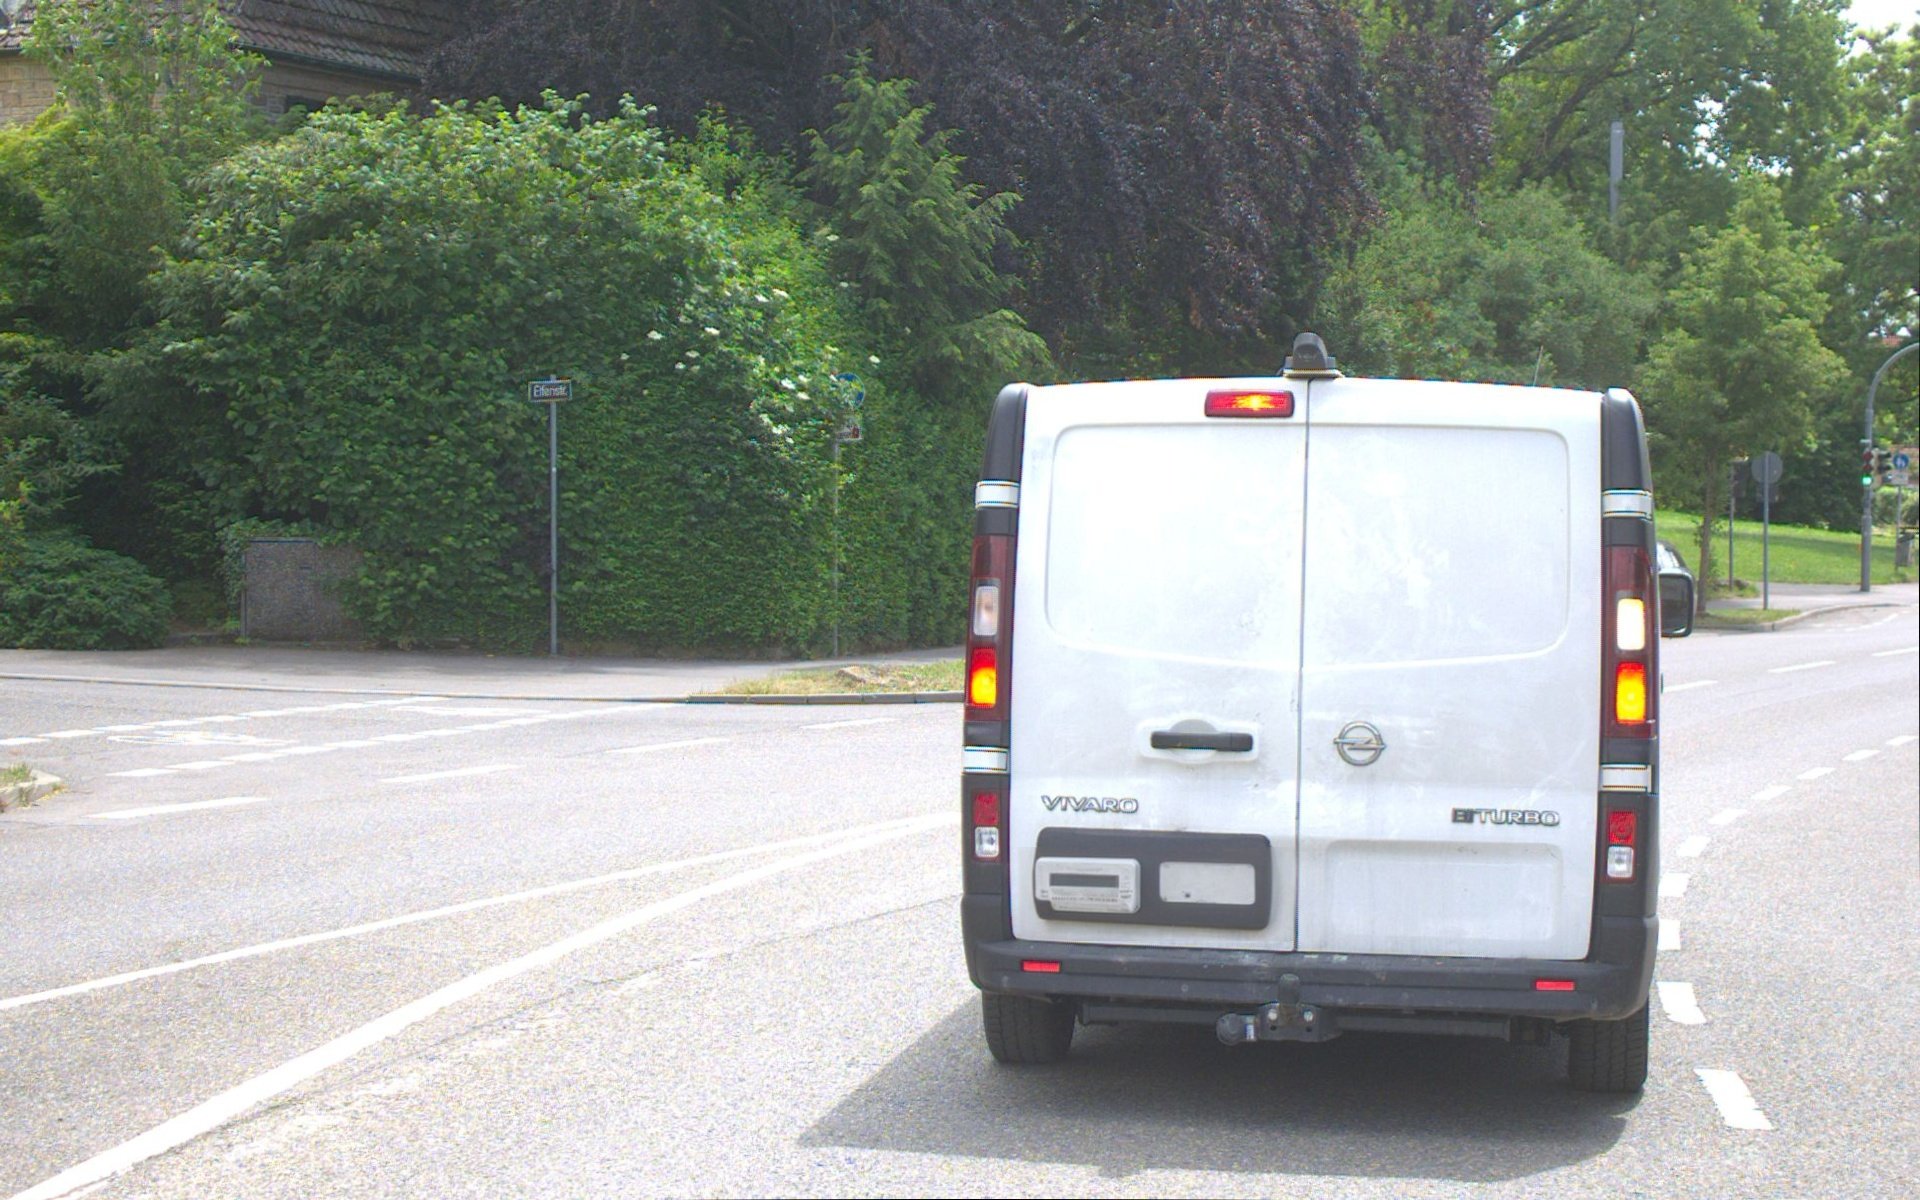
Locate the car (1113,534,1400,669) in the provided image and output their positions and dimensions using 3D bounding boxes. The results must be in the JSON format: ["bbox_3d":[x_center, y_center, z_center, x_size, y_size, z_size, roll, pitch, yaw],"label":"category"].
[{"bbox_3d":[3.435,-0.019,38.999,1.663,1.373,4.560,3,2,26],"label":"car"}]

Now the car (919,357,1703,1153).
[{"bbox_3d":[1.313,0.330,11.018,1.939,1.954,4.831,1,1,11],"label":"car"}]

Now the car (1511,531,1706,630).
[{"bbox_3d":[9.853,-0.322,51.957,1.697,1.360,4.680,3,2,25],"label":"car"}]

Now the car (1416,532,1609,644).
[{"bbox_3d":[7.779,-0.191,48.186,1.598,1.445,3.591,3,2,27],"label":"car"}]
